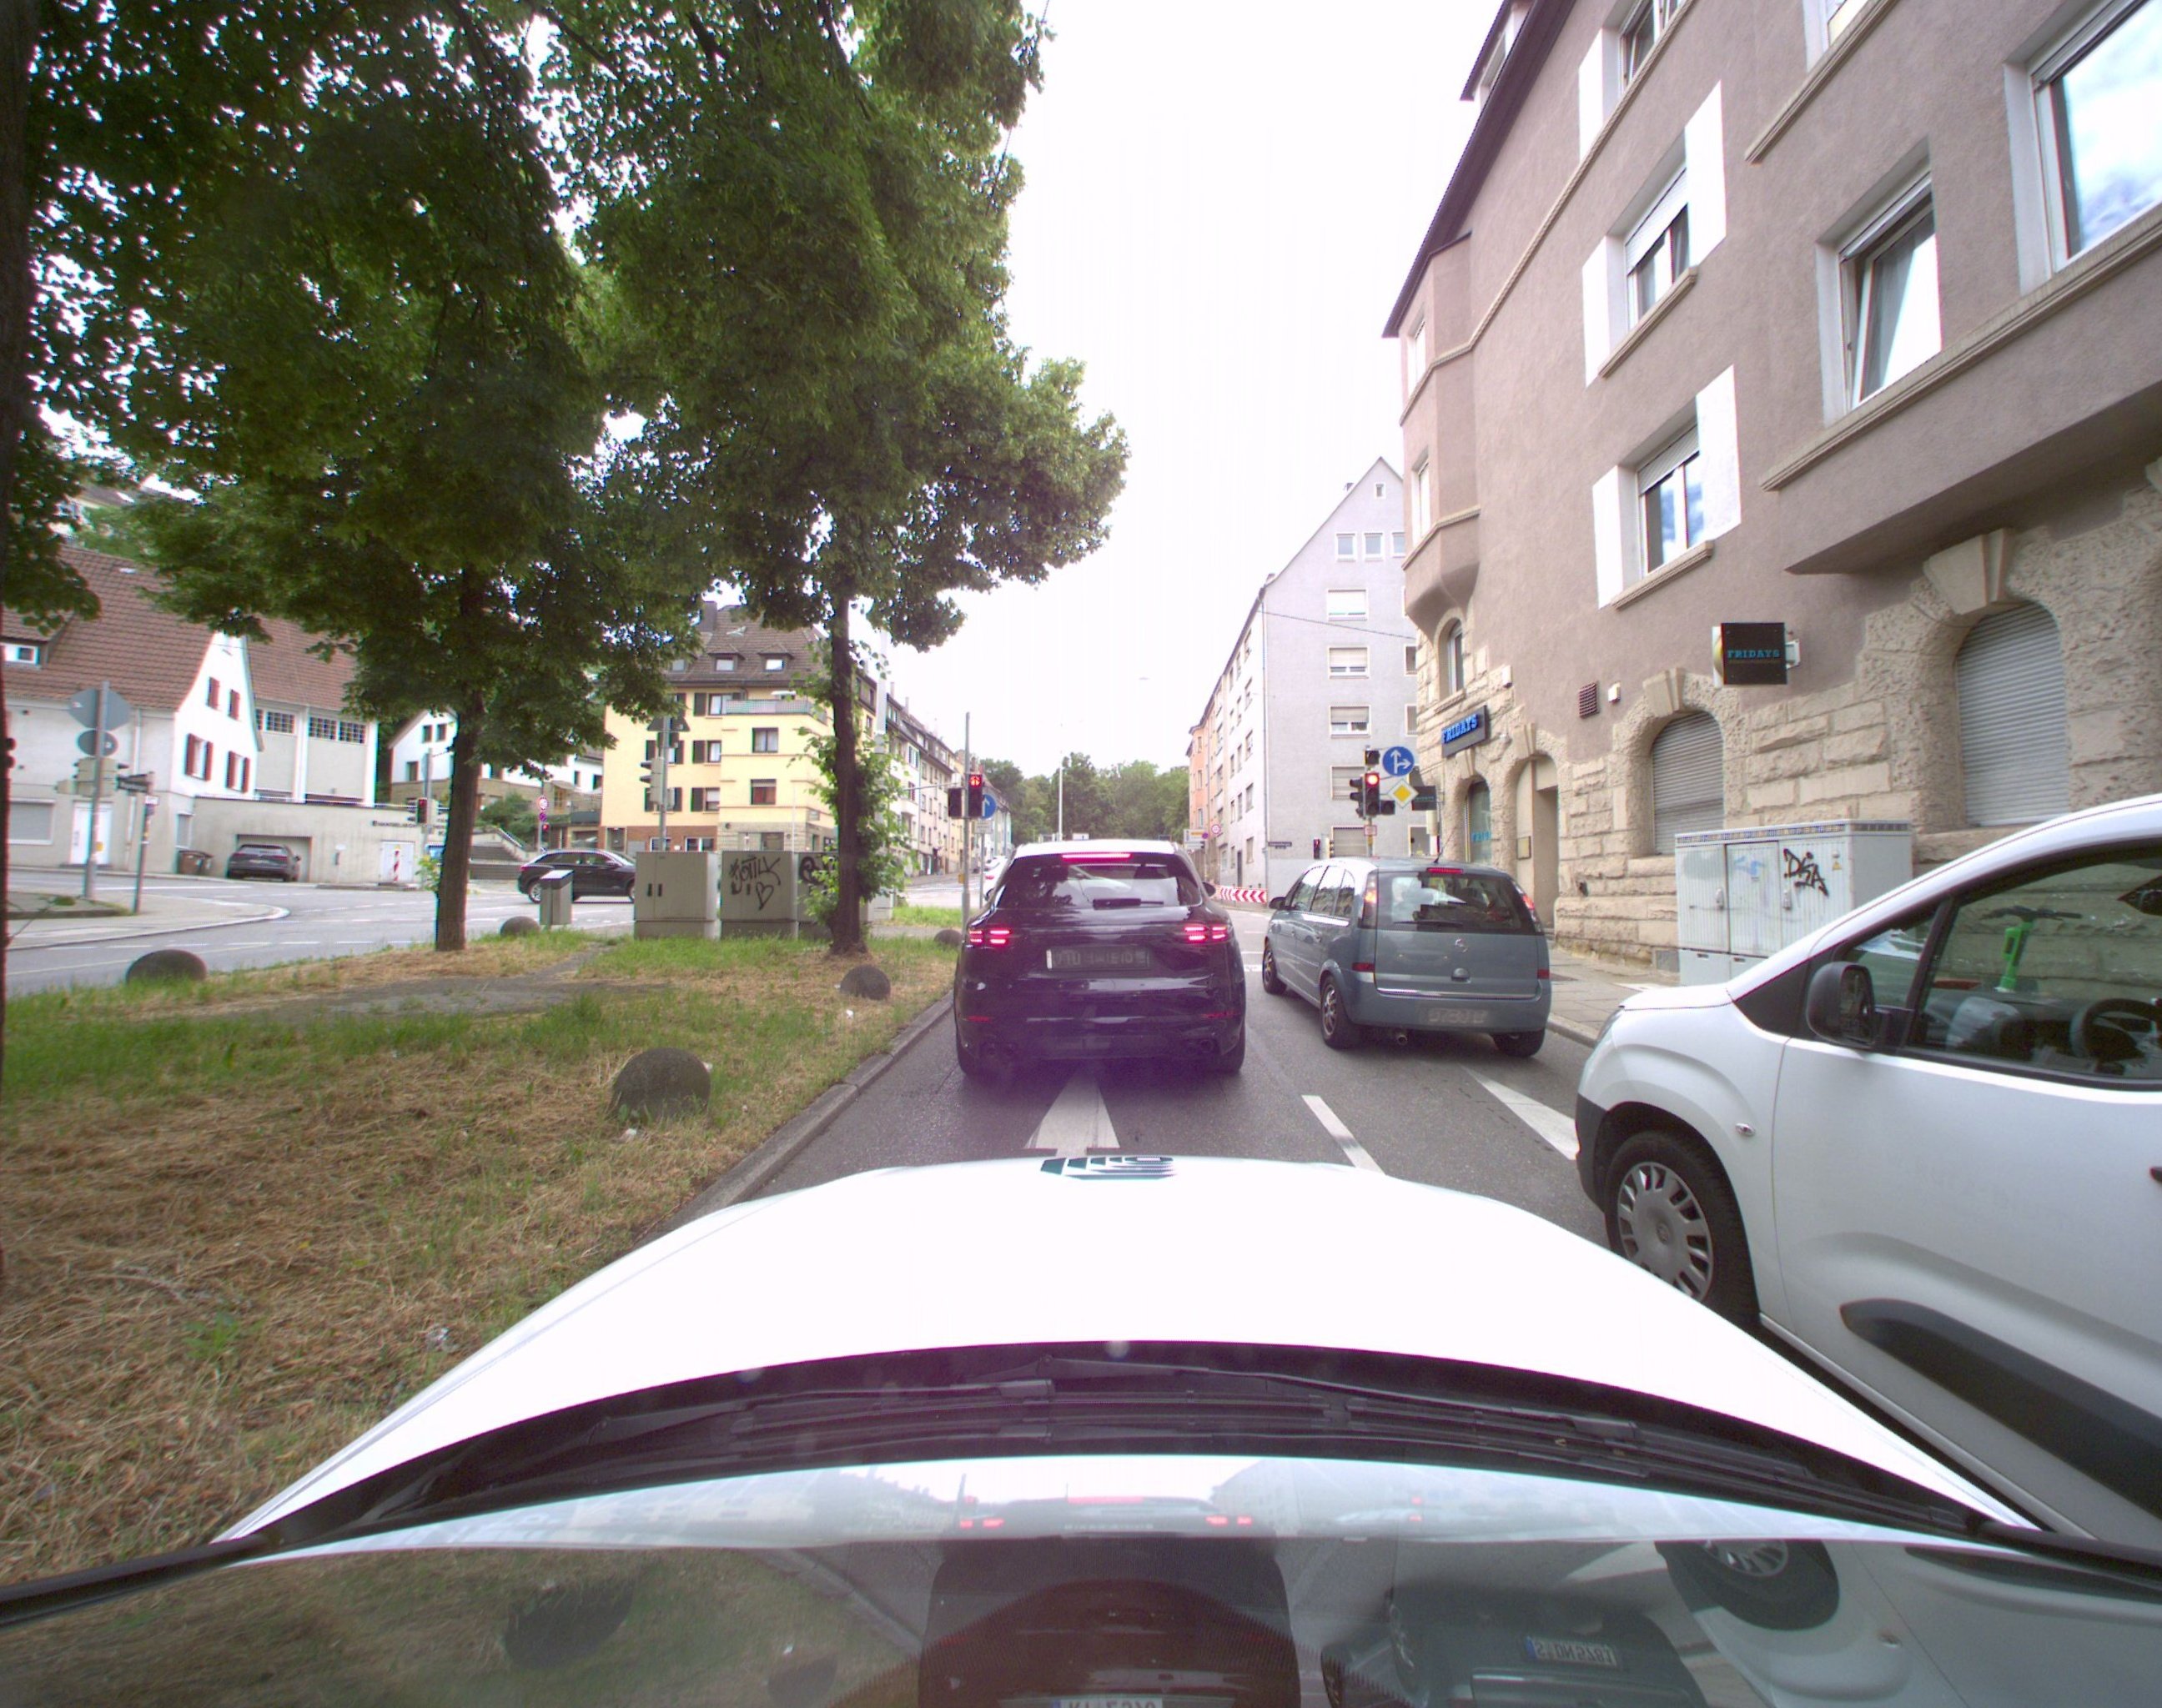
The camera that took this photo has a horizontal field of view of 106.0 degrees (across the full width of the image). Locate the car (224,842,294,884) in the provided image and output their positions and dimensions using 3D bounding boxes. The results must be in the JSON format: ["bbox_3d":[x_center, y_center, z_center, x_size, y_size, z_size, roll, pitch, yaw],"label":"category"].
[{"bbox_3d":[-32.170,0.354,31.861,3.019,1.405,1.681,2,-4,42],"label":"car"}]

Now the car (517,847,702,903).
[{"bbox_3d":[-13.384,0.609,23.350,4.235,1.521,1.661,1,-1,-9],"label":"car"}]

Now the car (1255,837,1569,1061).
[{"bbox_3d":[2.871,0.723,7.932,1.622,1.598,3.670,3,0,2],"label":"car"}]

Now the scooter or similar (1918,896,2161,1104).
[{"bbox_3d":[6.421,0.863,5.304,0.524,1.104,1.424,-1,-1,4],"label":"scooter or similar"}]

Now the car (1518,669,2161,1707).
[{"bbox_3d":[2.822,0.611,1.057,1.969,1.775,4.676,3,0,0],"label":"car"}]

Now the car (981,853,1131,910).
[{"bbox_3d":[-0.744,0.802,23.991,4.241,1.594,1.688,1,-2,-4],"label":"car"}]

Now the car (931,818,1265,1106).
[{"bbox_3d":[0.162,0.658,6.832,1.948,1.674,4.001,-1,-1,2],"label":"car"}]
